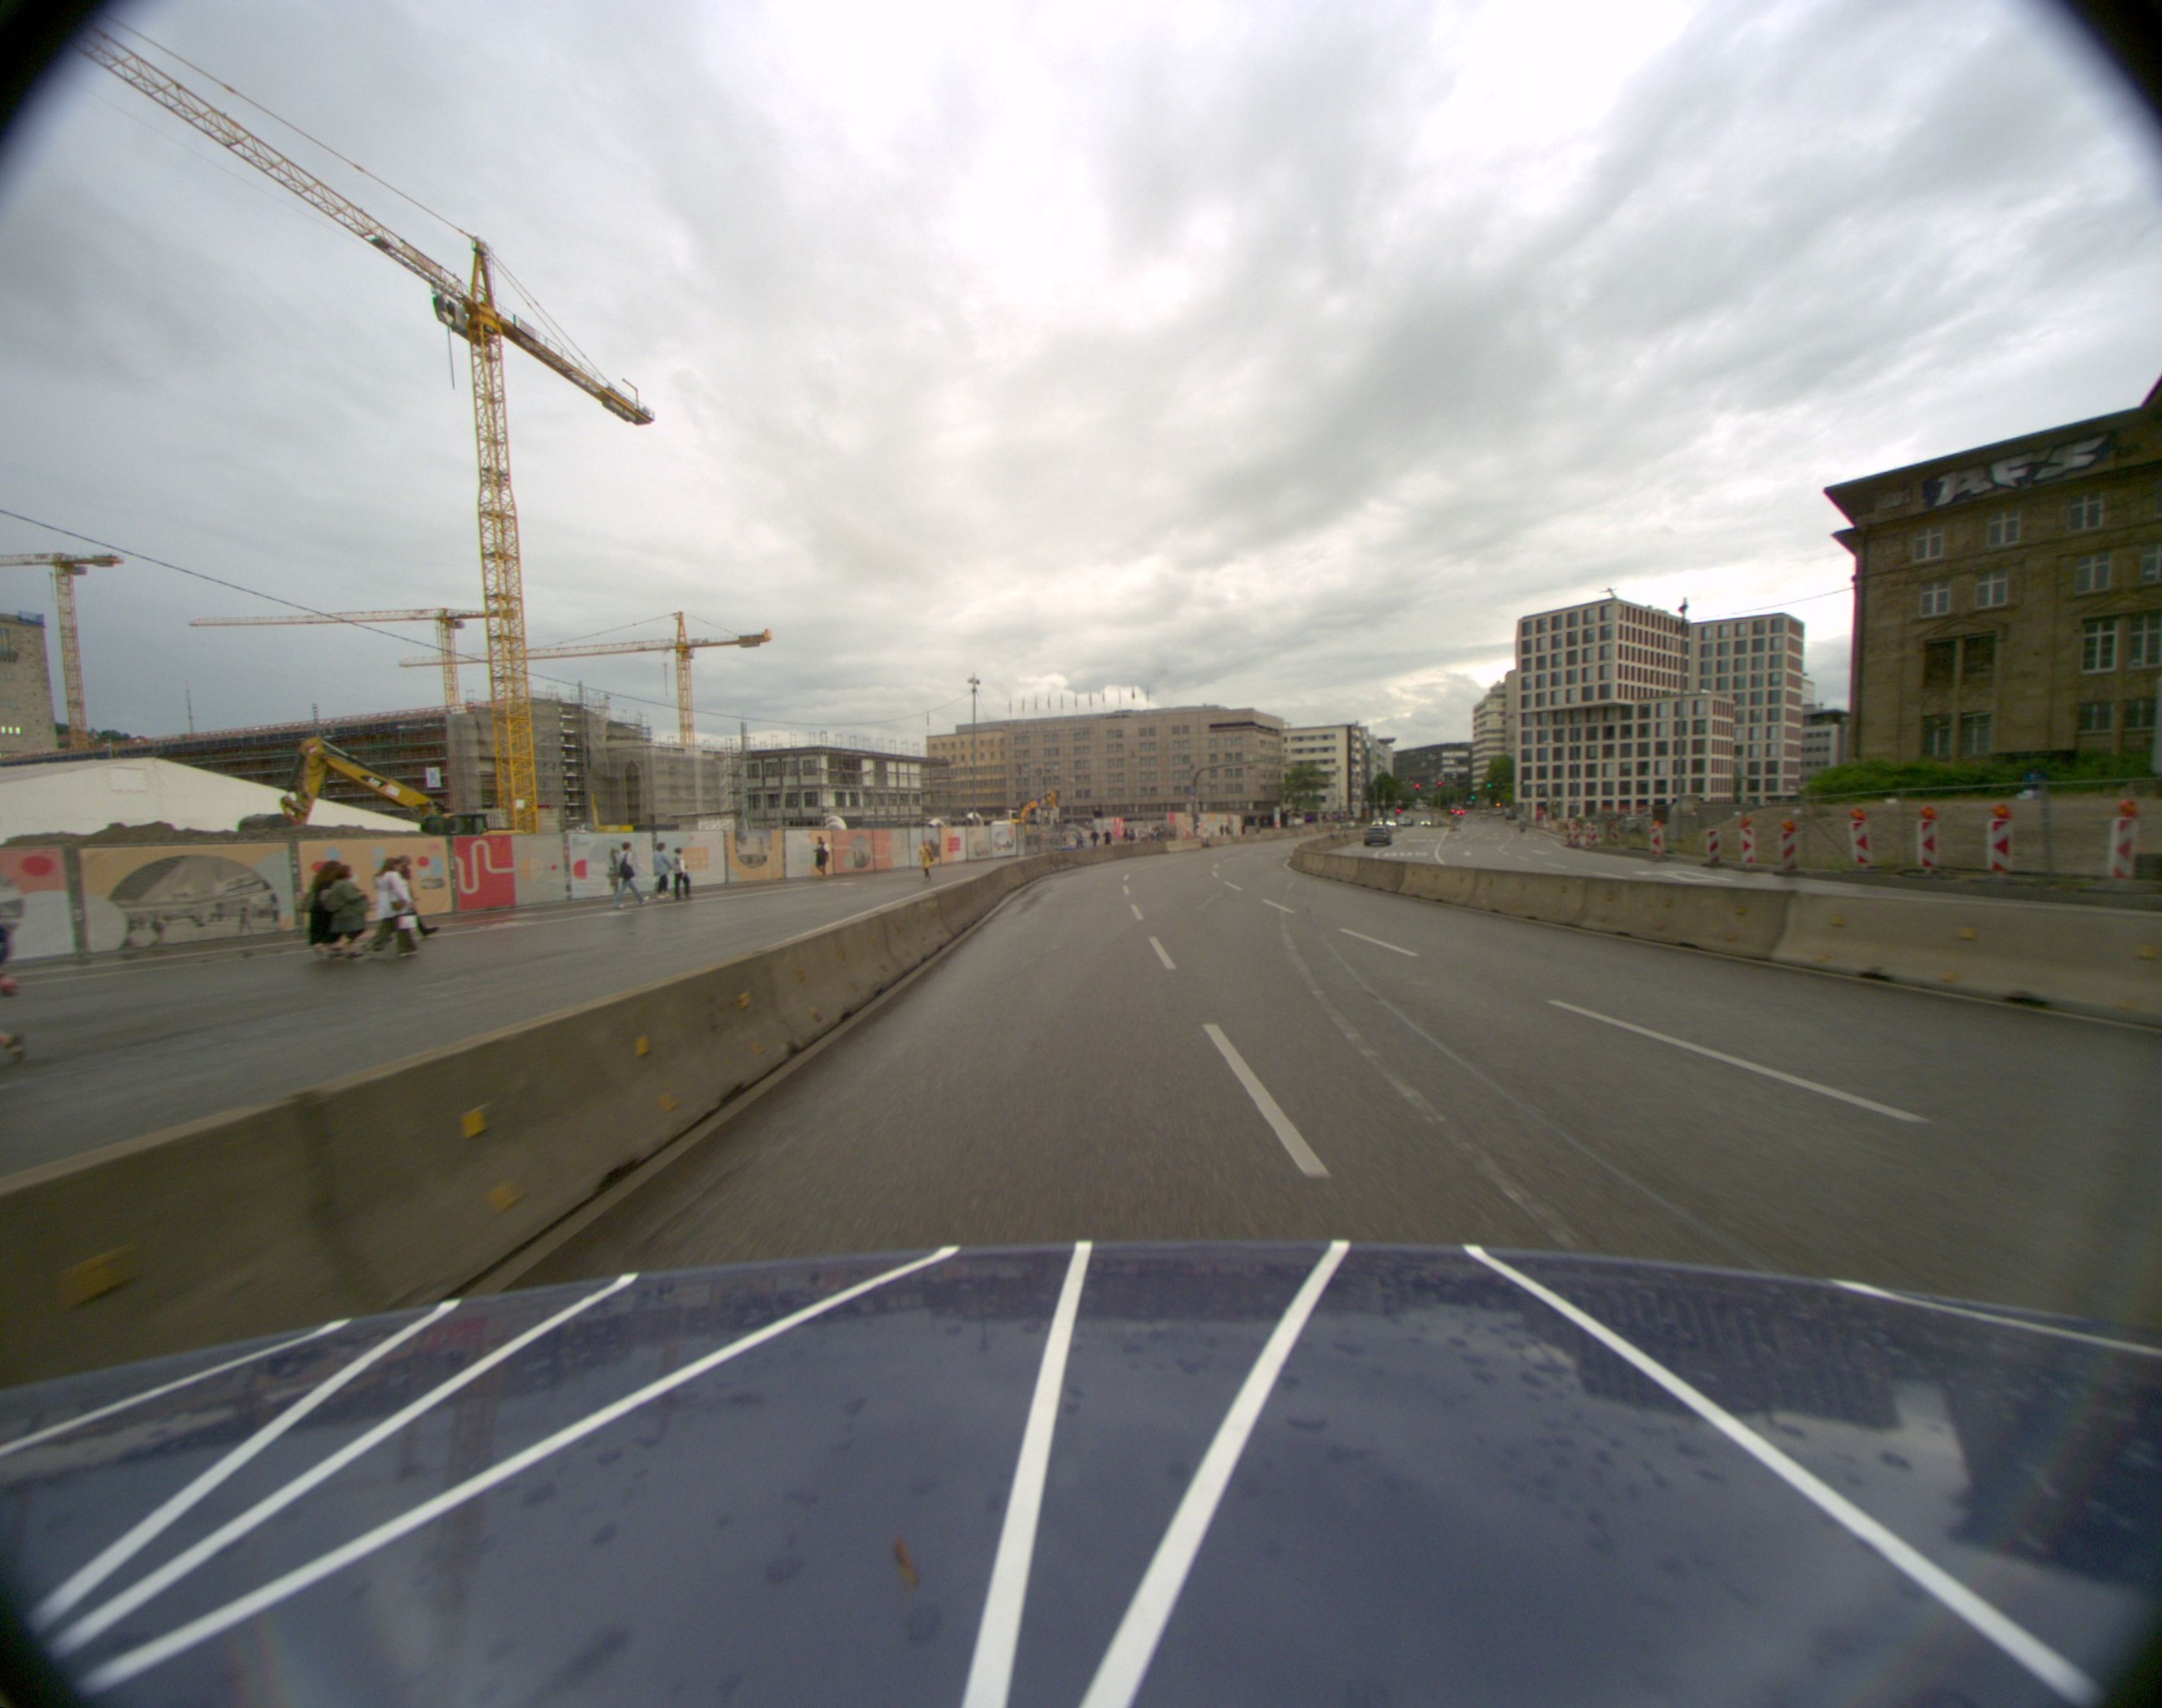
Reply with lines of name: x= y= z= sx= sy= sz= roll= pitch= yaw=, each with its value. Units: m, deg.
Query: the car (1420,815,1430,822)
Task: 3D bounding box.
car: x=73.028 y=-7.574 z=161.204 sx=1.788 sy=1.445 sz=3.676 roll=0 pitch=3 yaw=22

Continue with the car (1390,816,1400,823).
car: x=67.849 y=-7.534 z=163.957 sx=1.995 sy=1.445 sz=4.005 roll=0 pitch=3 yaw=22

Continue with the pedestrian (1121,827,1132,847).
pedestrian: x=3.818 y=-1.422 z=63.700 sx=0.654 sy=1.682 sz=0.776 roll=2 pitch=4 yaw=25

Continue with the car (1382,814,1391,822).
car: x=69.852 y=-8.214 z=173.630 sx=1.995 sy=1.839 sz=4.005 roll=0 pitch=3 yaw=22

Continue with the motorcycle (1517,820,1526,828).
motorcycle: x=54.059 y=-3.655 z=93.265 sx=0.703 sy=0.888 sz=1.825 roll=0 pitch=3 yaw=22

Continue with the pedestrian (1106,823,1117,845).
pedestrian: x=2.275 y=-1.536 z=57.167 sx=0.648 sy=1.637 sz=0.948 roll=1 pitch=3 yaw=14

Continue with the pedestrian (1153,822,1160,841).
pedestrian: x=6.762 y=-2.058 z=68.127 sx=0.585 sy=1.699 sz=0.677 roll=1 pitch=3 yaw=12

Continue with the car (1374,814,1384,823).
car: x=65.263 y=-7.766 z=166.362 sx=1.995 sy=1.814 sz=4.005 roll=0 pitch=3 yaw=22

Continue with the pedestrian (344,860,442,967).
pedestrian: x=-11.747 y=0.989 z=12.996 sx=0.778 sy=1.713 sz=0.892 roll=0 pitch=3 yaw=20

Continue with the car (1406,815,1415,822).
car: x=70.141 y=-7.501 z=161.753 sx=1.706 sy=1.445 sz=3.800 roll=0 pitch=3 yaw=22

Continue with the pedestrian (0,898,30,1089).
pedestrian: x=-9.383 y=1.178 z=6.167 sx=0.732 sy=1.566 sz=0.806 roll=-2 pitch=3 yaw=28

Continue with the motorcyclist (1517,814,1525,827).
motorcyclist: x=54.043 y=-4.127 z=93.250 sx=0.703 sy=1.479 sz=0.964 roll=0 pitch=3 yaw=22

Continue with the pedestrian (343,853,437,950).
pedestrian: x=-13.773 y=0.915 z=15.174 sx=0.867 sy=1.808 sz=1.009 roll=0 pitch=3 yaw=20

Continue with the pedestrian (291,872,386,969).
pedestrian: x=-12.521 y=1.093 z=12.838 sx=0.609 sy=1.514 sz=0.886 roll=0 pitch=3 yaw=20

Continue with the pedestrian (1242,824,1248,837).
pedestrian: x=20.993 y=-3.002 z=97.245 sx=0.756 sy=1.752 sz=0.766 roll=1 pitch=3 yaw=12

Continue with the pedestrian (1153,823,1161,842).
pedestrian: x=7.148 y=-2.001 z=71.312 sx=0.648 sy=1.752 sz=0.584 roll=1 pitch=4 yaw=12

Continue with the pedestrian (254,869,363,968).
pedestrian: x=-13.208 y=1.070 z=13.017 sx=0.715 sy=1.545 sz=1.009 roll=0 pitch=3 yaw=20

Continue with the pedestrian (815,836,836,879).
pedestrian: x=-10.641 y=0.146 z=31.601 sx=0.567 sy=1.739 sz=0.495 roll=0 pitch=3 yaw=19

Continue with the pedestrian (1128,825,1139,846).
pedestrian: x=4.233 y=-1.474 z=61.587 sx=0.654 sy=1.682 sz=0.776 roll=2 pitch=4 yaw=25

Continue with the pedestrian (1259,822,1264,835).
pedestrian: x=24.547 y=-3.426 z=103.530 sx=0.653 sy=1.752 sz=0.549 roll=1 pitch=4 yaw=12

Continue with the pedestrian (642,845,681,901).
pedestrian: x=-12.702 y=0.550 z=23.026 sx=0.647 sy=1.646 sz=0.767 roll=1 pitch=4 yaw=37

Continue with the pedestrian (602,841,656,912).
pedestrian: x=-12.310 y=0.590 z=20.687 sx=0.818 sy=1.839 sz=0.933 roll=1 pitch=4 yaw=37

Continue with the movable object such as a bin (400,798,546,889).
movable object such as a bin: x=-24.252 y=-0.474 z=30.558 sx=1.941 sy=3.390 sz=4.231 roll=-1 pitch=3 yaw=8

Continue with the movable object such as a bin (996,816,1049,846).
movable object such as a bin: x=-5.103 y=-2.052 z=66.581 sx=4.135 sy=2.522 sz=1.994 roll=-3 pitch=3 yaw=-34

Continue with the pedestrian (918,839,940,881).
pedestrian: x=-6.035 y=0.226 z=30.204 sx=0.648 sy=1.624 sz=0.907 roll=-1 pitch=3 yaw=1

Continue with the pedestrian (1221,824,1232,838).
pedestrian: x=18.080 y=-2.832 z=94.512 sx=1.097 sy=1.752 sz=0.907 roll=2 pitch=4 yaw=28

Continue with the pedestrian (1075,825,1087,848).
pedestrian: x=-0.025 y=-1.302 z=56.561 sx=0.745 sy=1.697 sz=0.687 roll=1 pitch=4 yaw=14

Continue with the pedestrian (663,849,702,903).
pedestrian: x=-11.939 y=0.638 z=22.754 sx=0.647 sy=1.545 sz=0.767 roll=1 pitch=4 yaw=37

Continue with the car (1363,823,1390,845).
car: x=22.024 y=-1.491 z=56.699 sx=1.768 sy=1.513 sz=4.391 roll=0 pitch=3 yaw=20

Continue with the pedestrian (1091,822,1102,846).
pedestrian: x=1.177 y=-1.502 z=57.127 sx=0.648 sy=1.734 sz=0.766 roll=1 pitch=3 yaw=14
